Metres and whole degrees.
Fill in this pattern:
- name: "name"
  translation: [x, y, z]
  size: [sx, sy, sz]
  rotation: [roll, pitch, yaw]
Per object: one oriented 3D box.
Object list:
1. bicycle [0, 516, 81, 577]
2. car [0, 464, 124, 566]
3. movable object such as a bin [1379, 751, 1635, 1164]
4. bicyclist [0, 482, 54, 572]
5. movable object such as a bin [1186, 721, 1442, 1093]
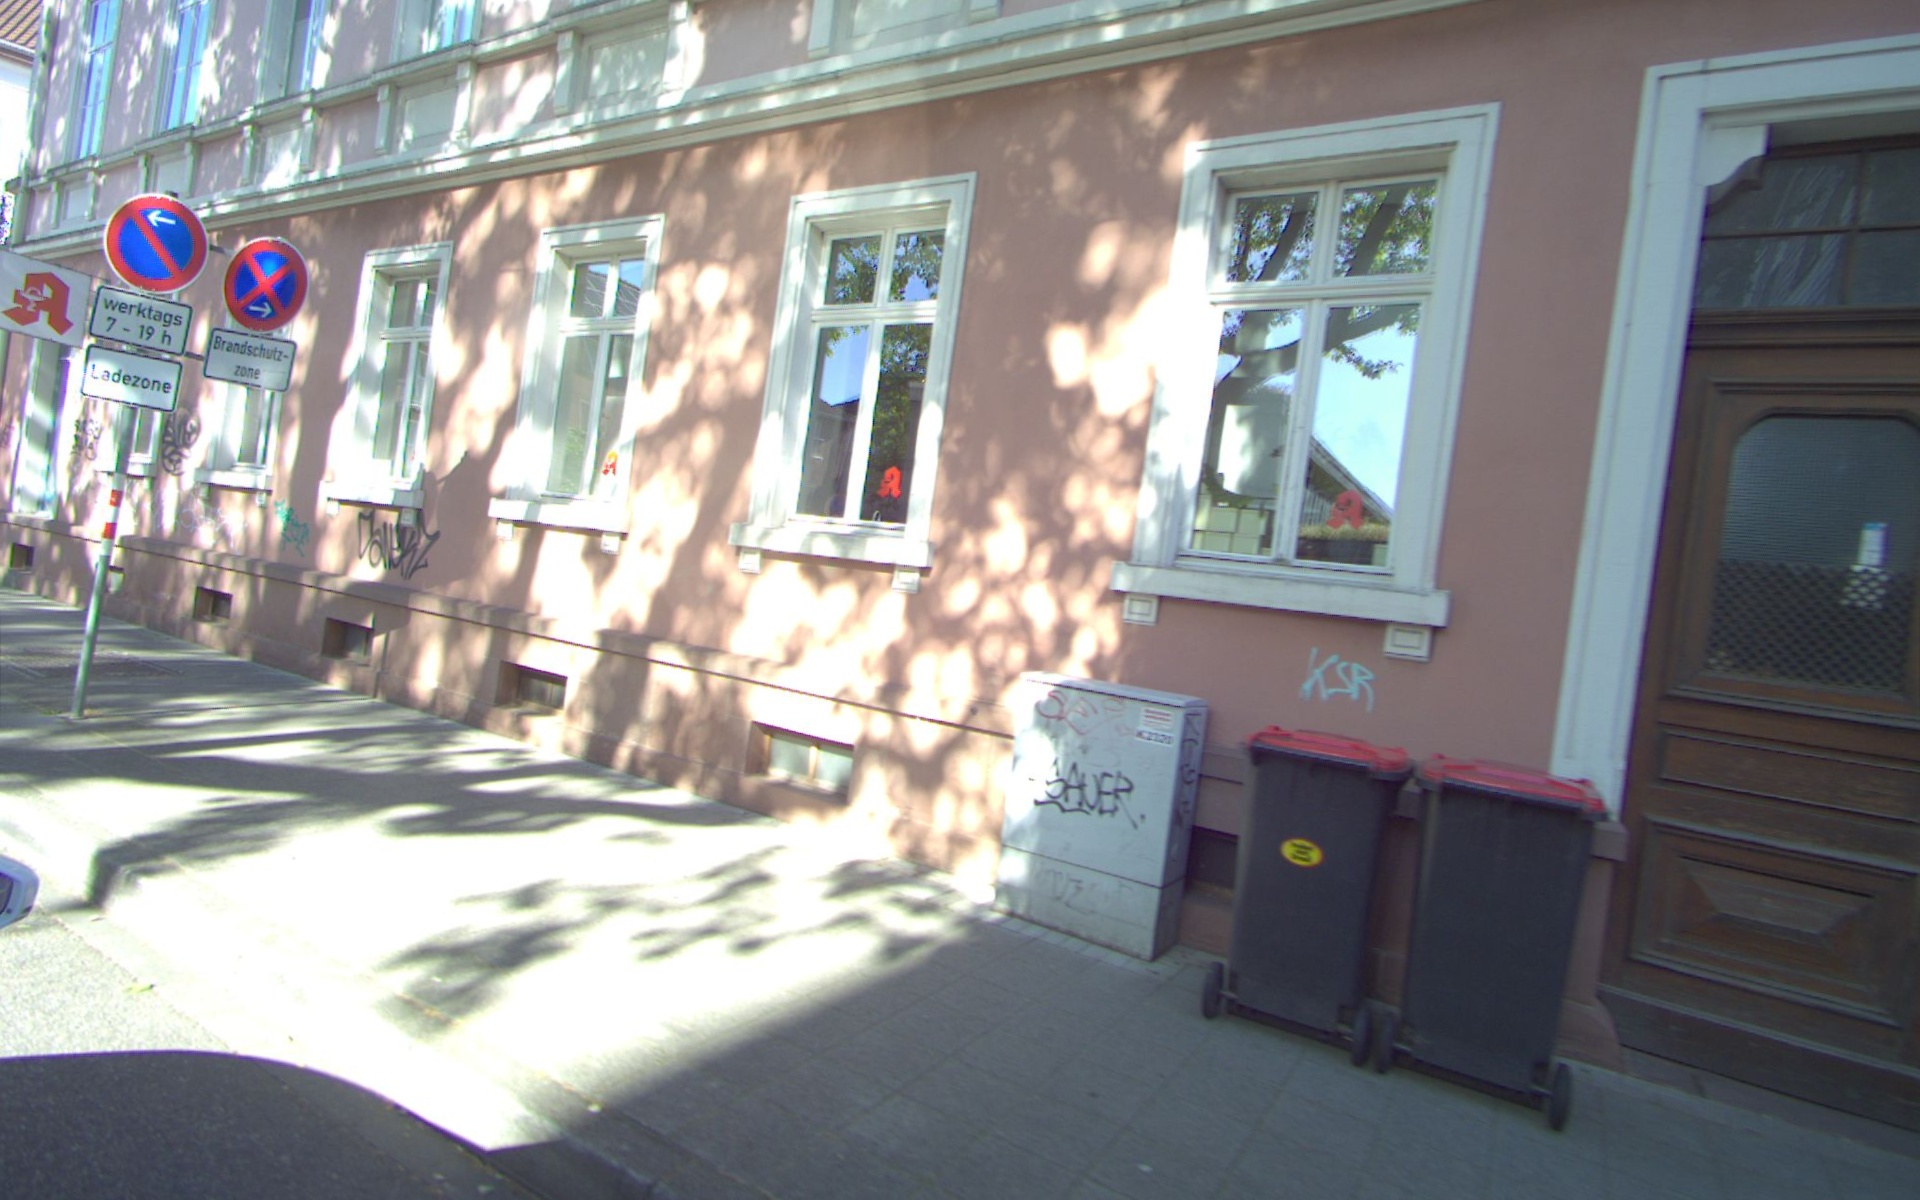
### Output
- name: "bicycle"
  translation: [-17.931, -1.058, 18.951]
  size: [0.654, 0.998, 1.925]
  rotation: [7, -1, 41]
- name: "car"
  translation: [-22.211, -2.111, 22.643]
  size: [4.862, 1.950, 1.983]
  rotation: [9, -3, -34]
- name: "movable object such as a bin"
  translation: [1.852, 1.114, 3.395]
  size: [0.587, 1.086, 0.702]
  rotation: [7, -1, 33]
- name: "bicyclist"
  translation: [-17.872, -1.398, 18.966]
  size: [0.750, 1.571, 0.981]
  rotation: [7, -1, 42]
- name: "movable object such as a bin"
  translation: [1.328, 1.047, 3.723]
  size: [0.624, 1.099, 0.746]
  rotation: [7, -1, 33]
